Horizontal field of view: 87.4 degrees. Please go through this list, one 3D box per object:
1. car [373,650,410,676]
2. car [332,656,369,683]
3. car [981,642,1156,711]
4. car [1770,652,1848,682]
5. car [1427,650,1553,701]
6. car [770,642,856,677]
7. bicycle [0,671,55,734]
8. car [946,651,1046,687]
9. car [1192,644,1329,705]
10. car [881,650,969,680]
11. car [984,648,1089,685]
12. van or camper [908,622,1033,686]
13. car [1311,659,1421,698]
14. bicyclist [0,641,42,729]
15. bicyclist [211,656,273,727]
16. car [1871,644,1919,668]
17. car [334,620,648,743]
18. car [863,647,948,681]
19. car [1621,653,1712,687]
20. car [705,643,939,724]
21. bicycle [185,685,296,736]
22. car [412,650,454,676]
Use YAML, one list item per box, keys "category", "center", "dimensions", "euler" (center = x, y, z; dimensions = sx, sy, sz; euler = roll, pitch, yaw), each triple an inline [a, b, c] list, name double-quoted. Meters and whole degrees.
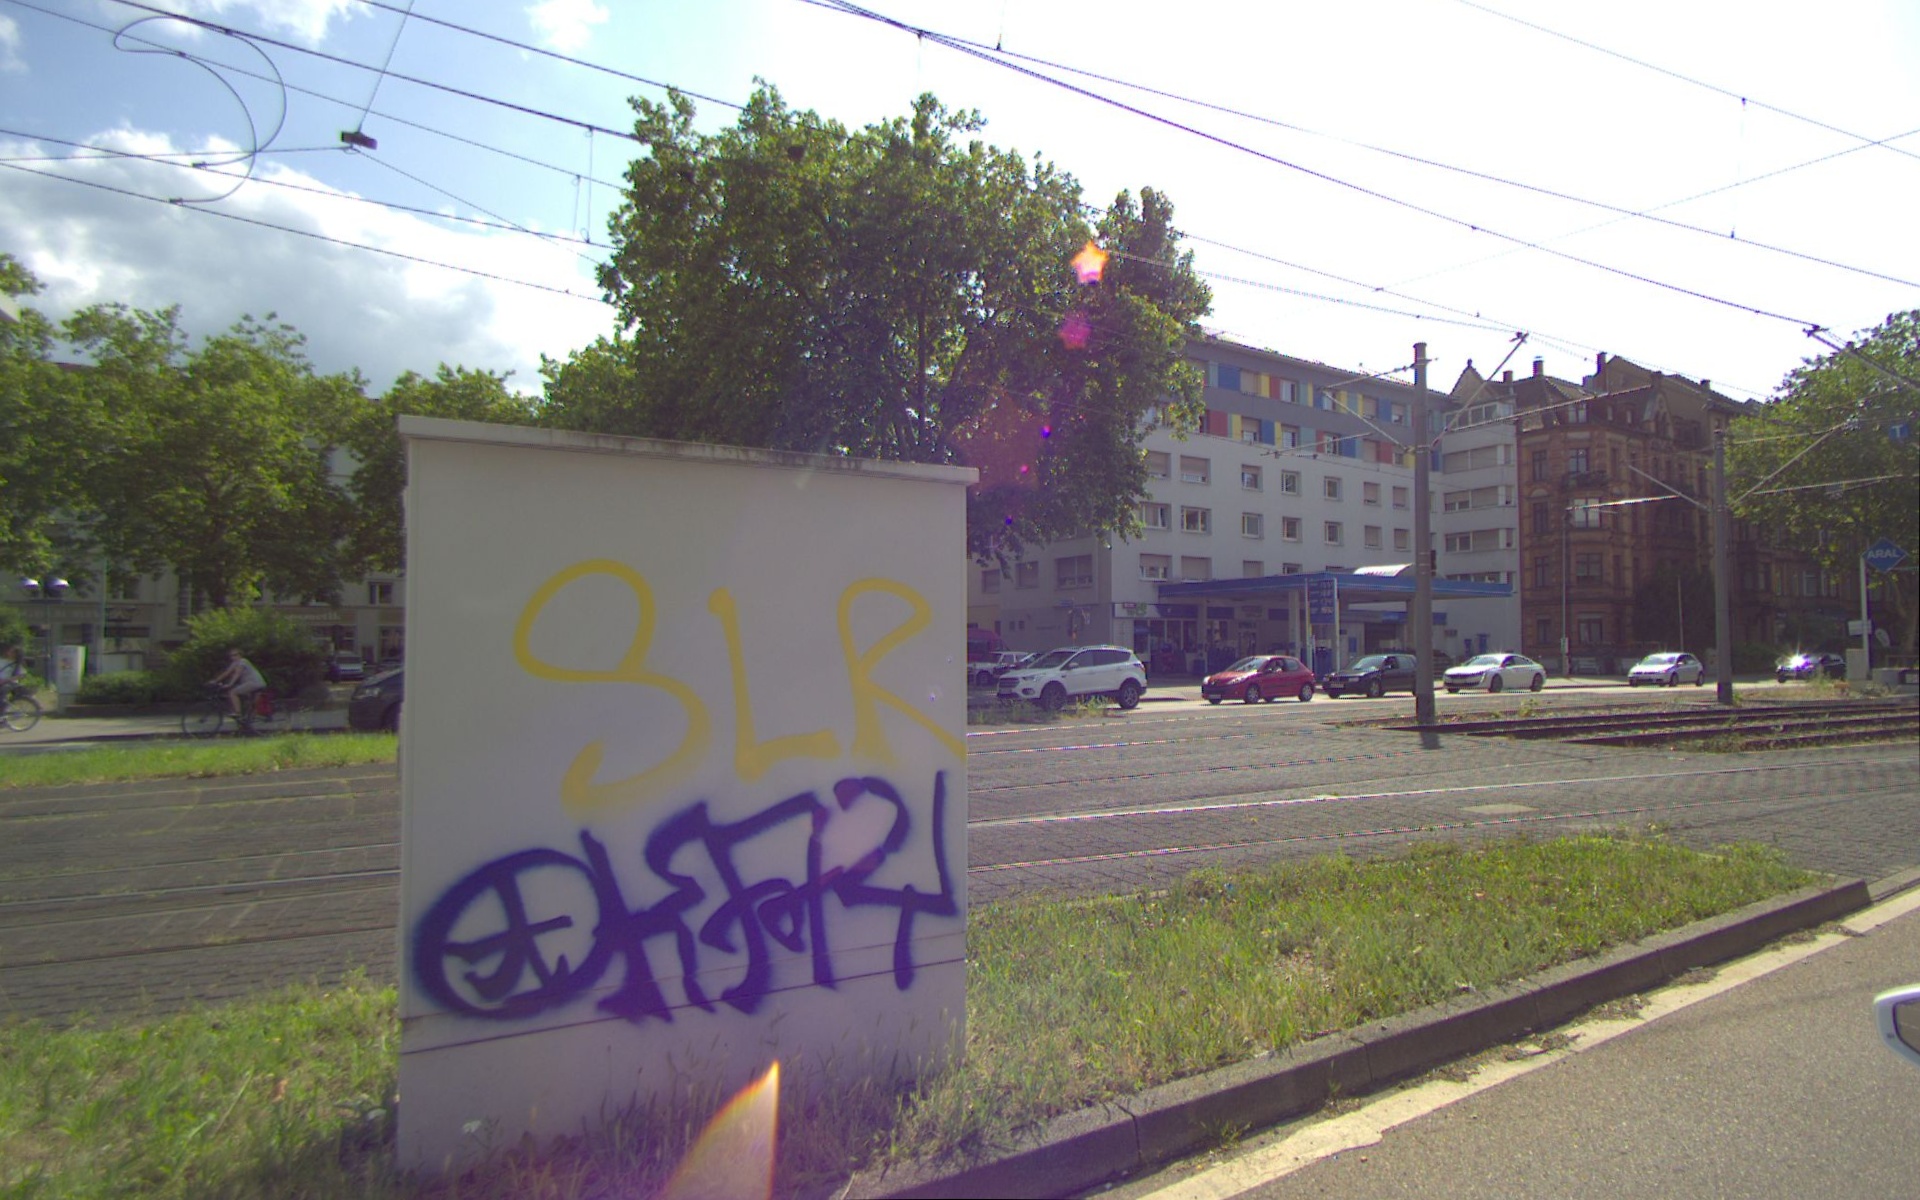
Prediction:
- category: "car"
  center: [-38.069, 4.199, 67.229]
  dimensions: [1.833, 1.681, 4.045]
  euler: [2, -3, -34]
- category: "car"
  center: [-39.989, 4.511, 65.914]
  dimensions: [1.833, 1.681, 4.045]
  euler: [2, -3, -34]
- category: "car"
  center: [2.980, 2.014, 27.173]
  dimensions: [4.628, 1.628, 1.750]
  euler: [0, -2, -33]
- category: "car"
  center: [42.002, 3.300, 49.688]
  dimensions: [3.734, 1.435, 1.663]
  euler: [1, -3, -27]
- category: "car"
  center: [19.810, 2.764, 37.510]
  dimensions: [5.021, 1.628, 1.936]
  euler: [0, -2, -33]
- category: "car"
  center: [-8.633, 3.485, 59.069]
  dimensions: [4.633, 1.959, 1.983]
  euler: [2, -6, -34]
- category: "bicycle"
  center: [-18.585, 1.999, 19.464]
  dimensions: [0.497, 1.127, 1.632]
  euler: [1, -1, 7]
- category: "car"
  center: [1.547, 2.880, 42.464]
  dimensions: [3.958, 1.429, 1.742]
  euler: [2, -4, -34]
- category: "car"
  center: [9.167, 2.224, 30.545]
  dimensions: [4.099, 1.628, 1.703]
  euler: [0, -2, -33]
- category: "car"
  center: [-1.641, 3.047, 47.120]
  dimensions: [3.958, 1.310, 1.466]
  euler: [2, -6, -34]
- category: "car"
  center: [3.088, 2.645, 40.245]
  dimensions: [3.958, 1.429, 1.742]
  euler: [2, -4, -34]
- category: "van or camper"
  center: [0.477, 2.438, 45.167]
  dimensions: [5.288, 2.675, 2.093]
  euler: [1, -5, -31]
- category: "car"
  center: [13.642, 2.588, 33.691]
  dimensions: [3.592, 1.204, 1.608]
  euler: [1, -3, -31]
- category: "bicyclist"
  center: [-18.544, 1.655, 19.714]
  dimensions: [0.497, 1.690, 0.584]
  euler: [1, 0, 7]
- category: "bicyclist"
  center: [-14.193, 1.804, 19.876]
  dimensions: [0.897, 1.361, 0.468]
  euler: [1, -3, -24]
- category: "car"
  center: [80.450, 4.744, 85.186]
  dimensions: [1.979, 1.943, 4.376]
  euler: [2, -3, -33]
- category: "car"
  center: [-8.973, 1.460, 19.389]
  dimensions: [5.278, 2.012, 2.063]
  euler: [0, -2, -33]
- category: "car"
  center: [-2.678, 3.140, 49.616]
  dimensions: [3.958, 1.624, 1.517]
  euler: [2, -5, -34]
- category: "car"
  center: [31.604, 3.109, 44.927]
  dimensions: [4.355, 1.434, 1.713]
  euler: [1, -4, -31]
- category: "car"
  center: [-3.137, 1.878, 23.270]
  dimensions: [5.097, 1.673, 1.857]
  euler: [1, -5, -33]
- category: "bicycle"
  center: [-14.199, 2.174, 19.859]
  dimensions: [1.693, 0.933, 0.468]
  euler: [1, -3, -24]
- category: "car"
  center: [-36.053, 4.270, 68.701]
  dimensions: [2.062, 1.681, 4.045]
  euler: [2, -3, -34]
